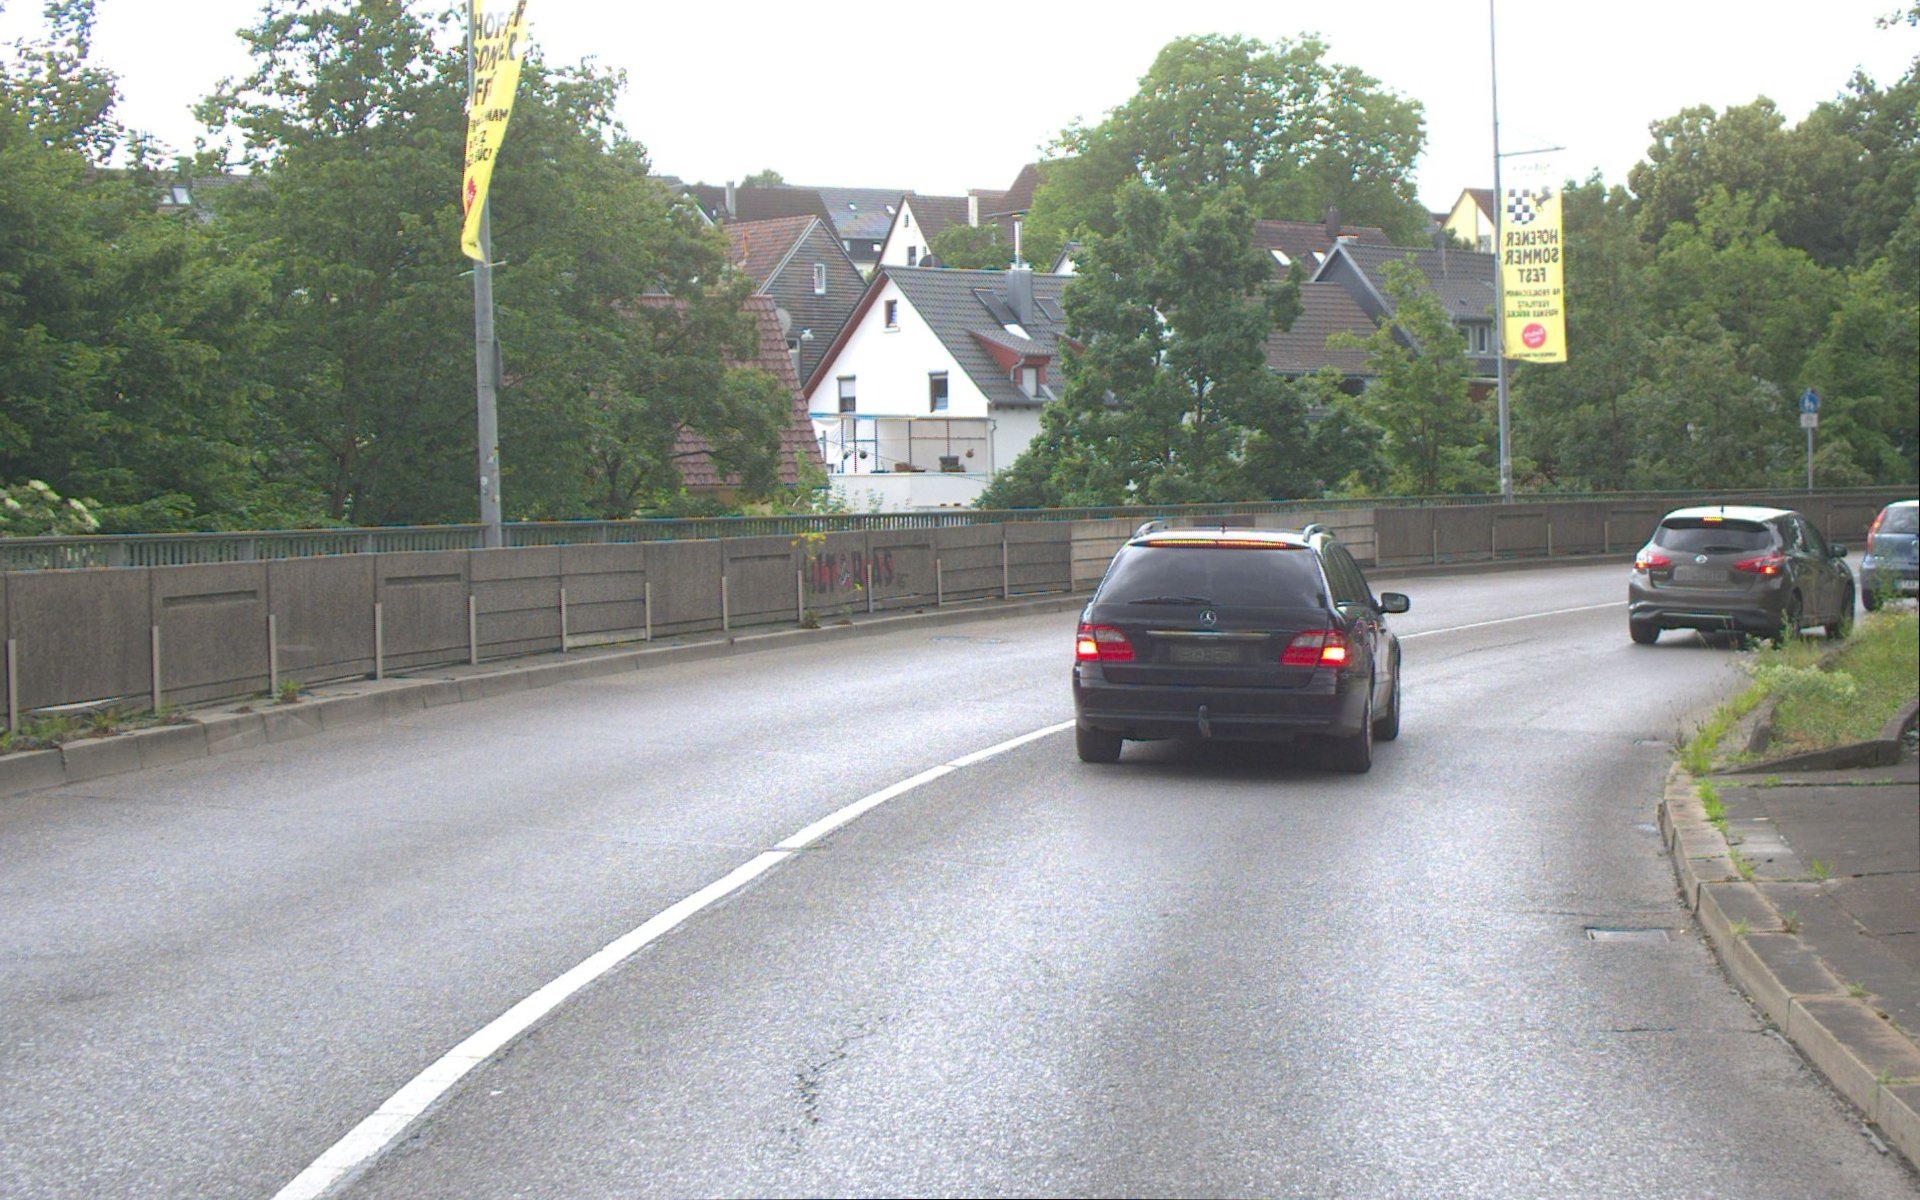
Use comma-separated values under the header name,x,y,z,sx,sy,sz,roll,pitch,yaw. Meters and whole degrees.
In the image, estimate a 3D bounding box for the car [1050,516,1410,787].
name,x,y,z,sx,sy,sz,roll,pitch,yaw
car,1.840,0.240,22.092,1.852,1.481,4.419,2,2,10

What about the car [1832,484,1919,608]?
name,x,y,z,sx,sy,sz,roll,pitch,yaw
car,13.200,-0.729,45.767,1.896,1.568,3.993,2,2,33

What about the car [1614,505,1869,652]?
name,x,y,z,sx,sy,sz,roll,pitch,yaw
car,8.765,-0.285,38.343,1.777,1.489,3.994,3,3,27
